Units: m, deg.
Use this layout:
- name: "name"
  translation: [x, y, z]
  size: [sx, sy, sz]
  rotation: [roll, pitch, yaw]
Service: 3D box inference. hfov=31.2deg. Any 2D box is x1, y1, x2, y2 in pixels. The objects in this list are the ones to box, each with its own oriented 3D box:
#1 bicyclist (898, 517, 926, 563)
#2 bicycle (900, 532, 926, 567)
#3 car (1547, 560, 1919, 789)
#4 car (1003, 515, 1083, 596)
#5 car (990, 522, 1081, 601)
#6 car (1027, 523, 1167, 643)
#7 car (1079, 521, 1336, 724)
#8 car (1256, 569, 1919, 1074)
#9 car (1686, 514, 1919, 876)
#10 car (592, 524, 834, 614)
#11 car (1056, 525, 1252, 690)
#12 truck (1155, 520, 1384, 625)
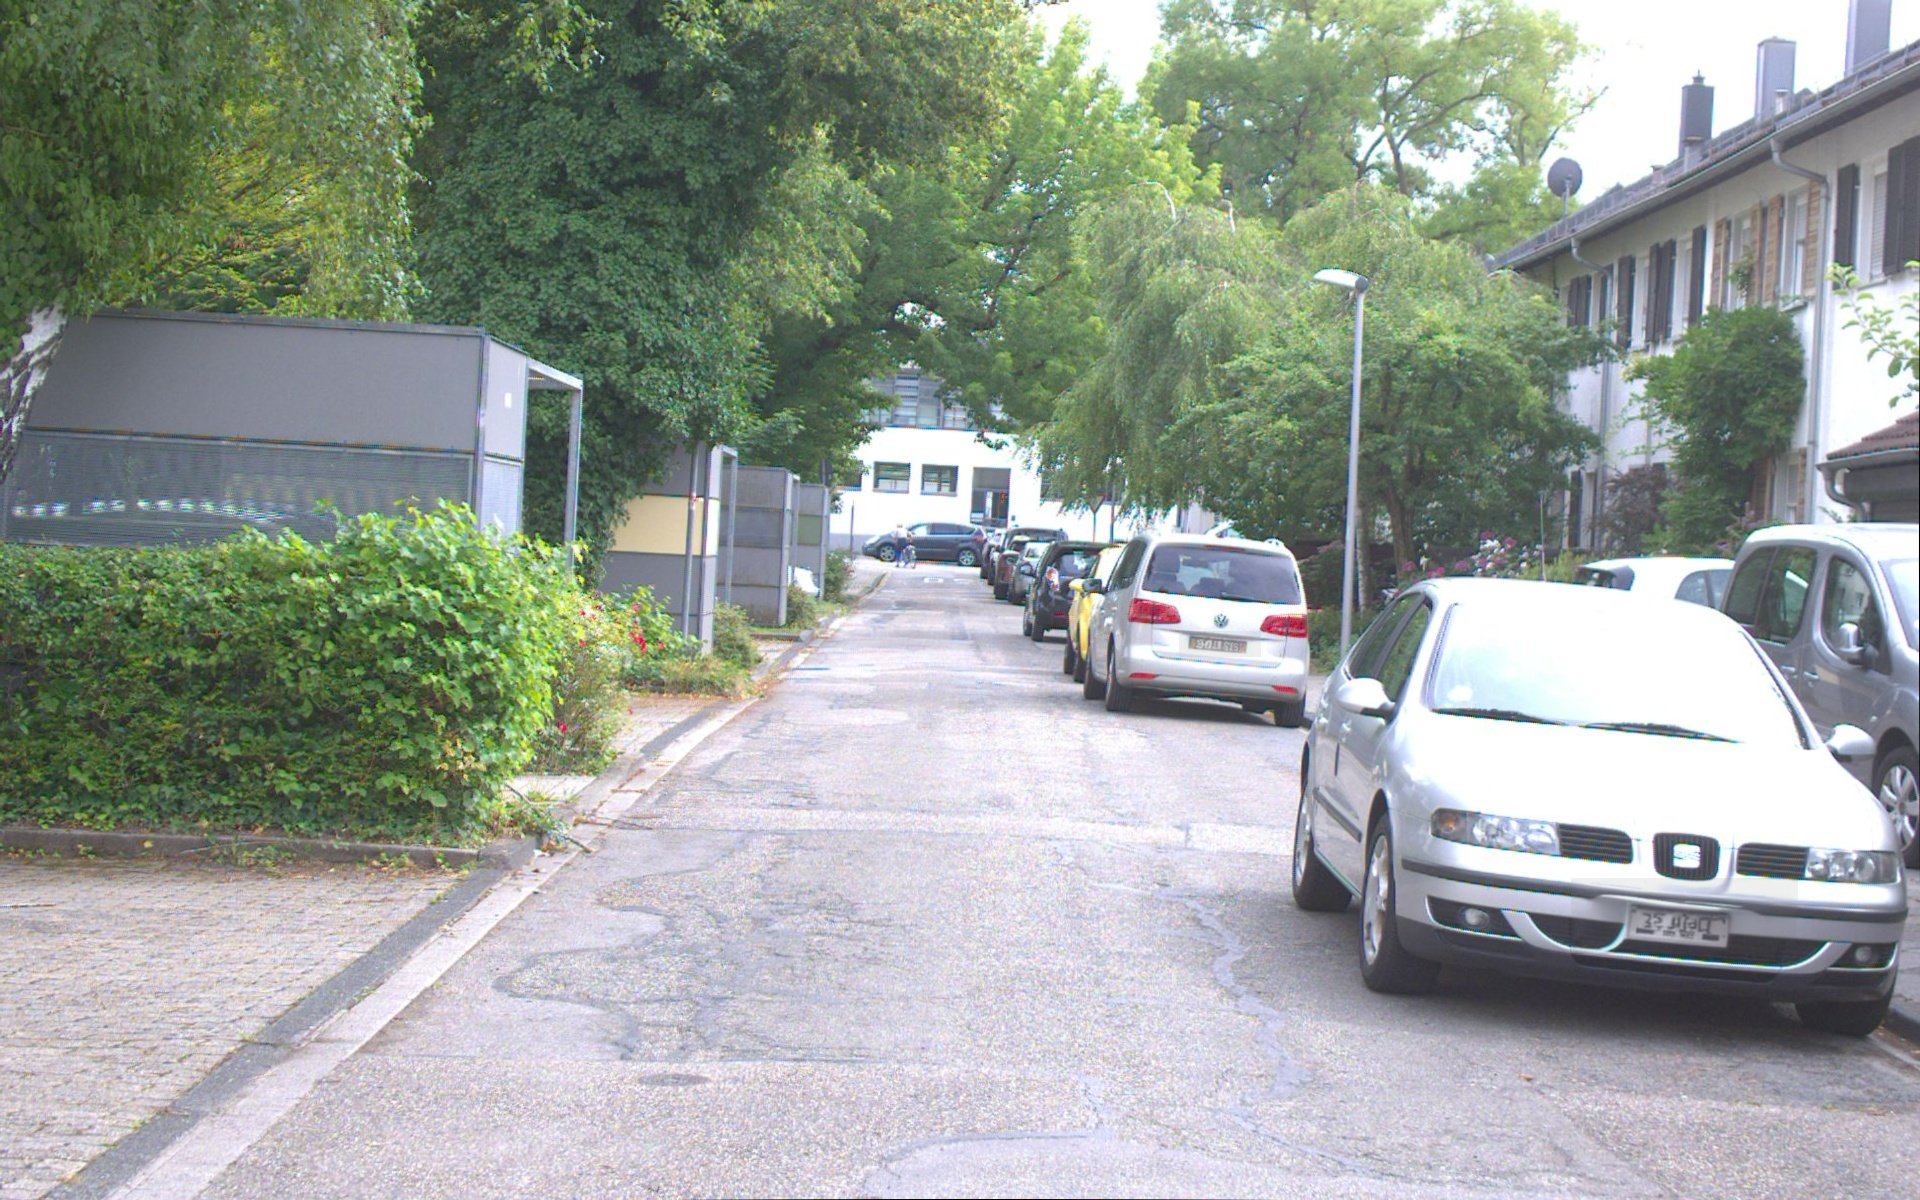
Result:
- name: "bicyclist"
  translation: [-1.633, -2.040, 116.847]
  size: [0.798, 1.505, 0.934]
  rotation: [5, 1, 2]
- name: "bicycle"
  translation: [-1.586, -1.705, 116.832]
  size: [0.689, 1.127, 2.579]
  rotation: [5, 1, 2]
- name: "car"
  translation: [5.882, 0.520, 25.114]
  size: [2.816, 1.564, 1.741]
  rotation: [1, 1, -2]
- name: "car"
  translation: [2.101, -1.164, 88.236]
  size: [1.825, 1.876, 4.000]
  rotation: [5, 1, 0]
- name: "car"
  translation: [1.651, -0.876, 76.595]
  size: [1.825, 1.576, 4.000]
  rotation: [5, 1, 0]
- name: "car"
  translation: [2.004, -0.289, 51.505]
  size: [1.825, 1.576, 4.193]
  rotation: [5, 1, 0]
- name: "car"
  translation: [2.181, 0.149, 31.377]
  size: [1.825, 1.576, 4.001]
  rotation: [5, 1, -2]
- name: "car"
  translation: [2.244, 0.671, 12.797]
  size: [1.825, 1.365, 4.331]
  rotation: [5, 1, 0]
- name: "car"
  translation: [5.477, 0.444, 18.783]
  size: [1.825, 1.771, 4.341]
  rotation: [0, 1, -4]
- name: "car"
  translation: [-4.243, -0.549, 59.434]
  size: [4.031, 1.389, 1.738]
  rotation: [2, 1, -1]
- name: "car"
  translation: [2.079, 0.033, 37.848]
  size: [1.825, 1.576, 4.000]
  rotation: [5, 1, 0]
- name: "truck"
  translation: [6.247, -0.570, 69.780]
  size: [4.390, 2.007, 2.000]
  rotation: [1, 1, -1]
